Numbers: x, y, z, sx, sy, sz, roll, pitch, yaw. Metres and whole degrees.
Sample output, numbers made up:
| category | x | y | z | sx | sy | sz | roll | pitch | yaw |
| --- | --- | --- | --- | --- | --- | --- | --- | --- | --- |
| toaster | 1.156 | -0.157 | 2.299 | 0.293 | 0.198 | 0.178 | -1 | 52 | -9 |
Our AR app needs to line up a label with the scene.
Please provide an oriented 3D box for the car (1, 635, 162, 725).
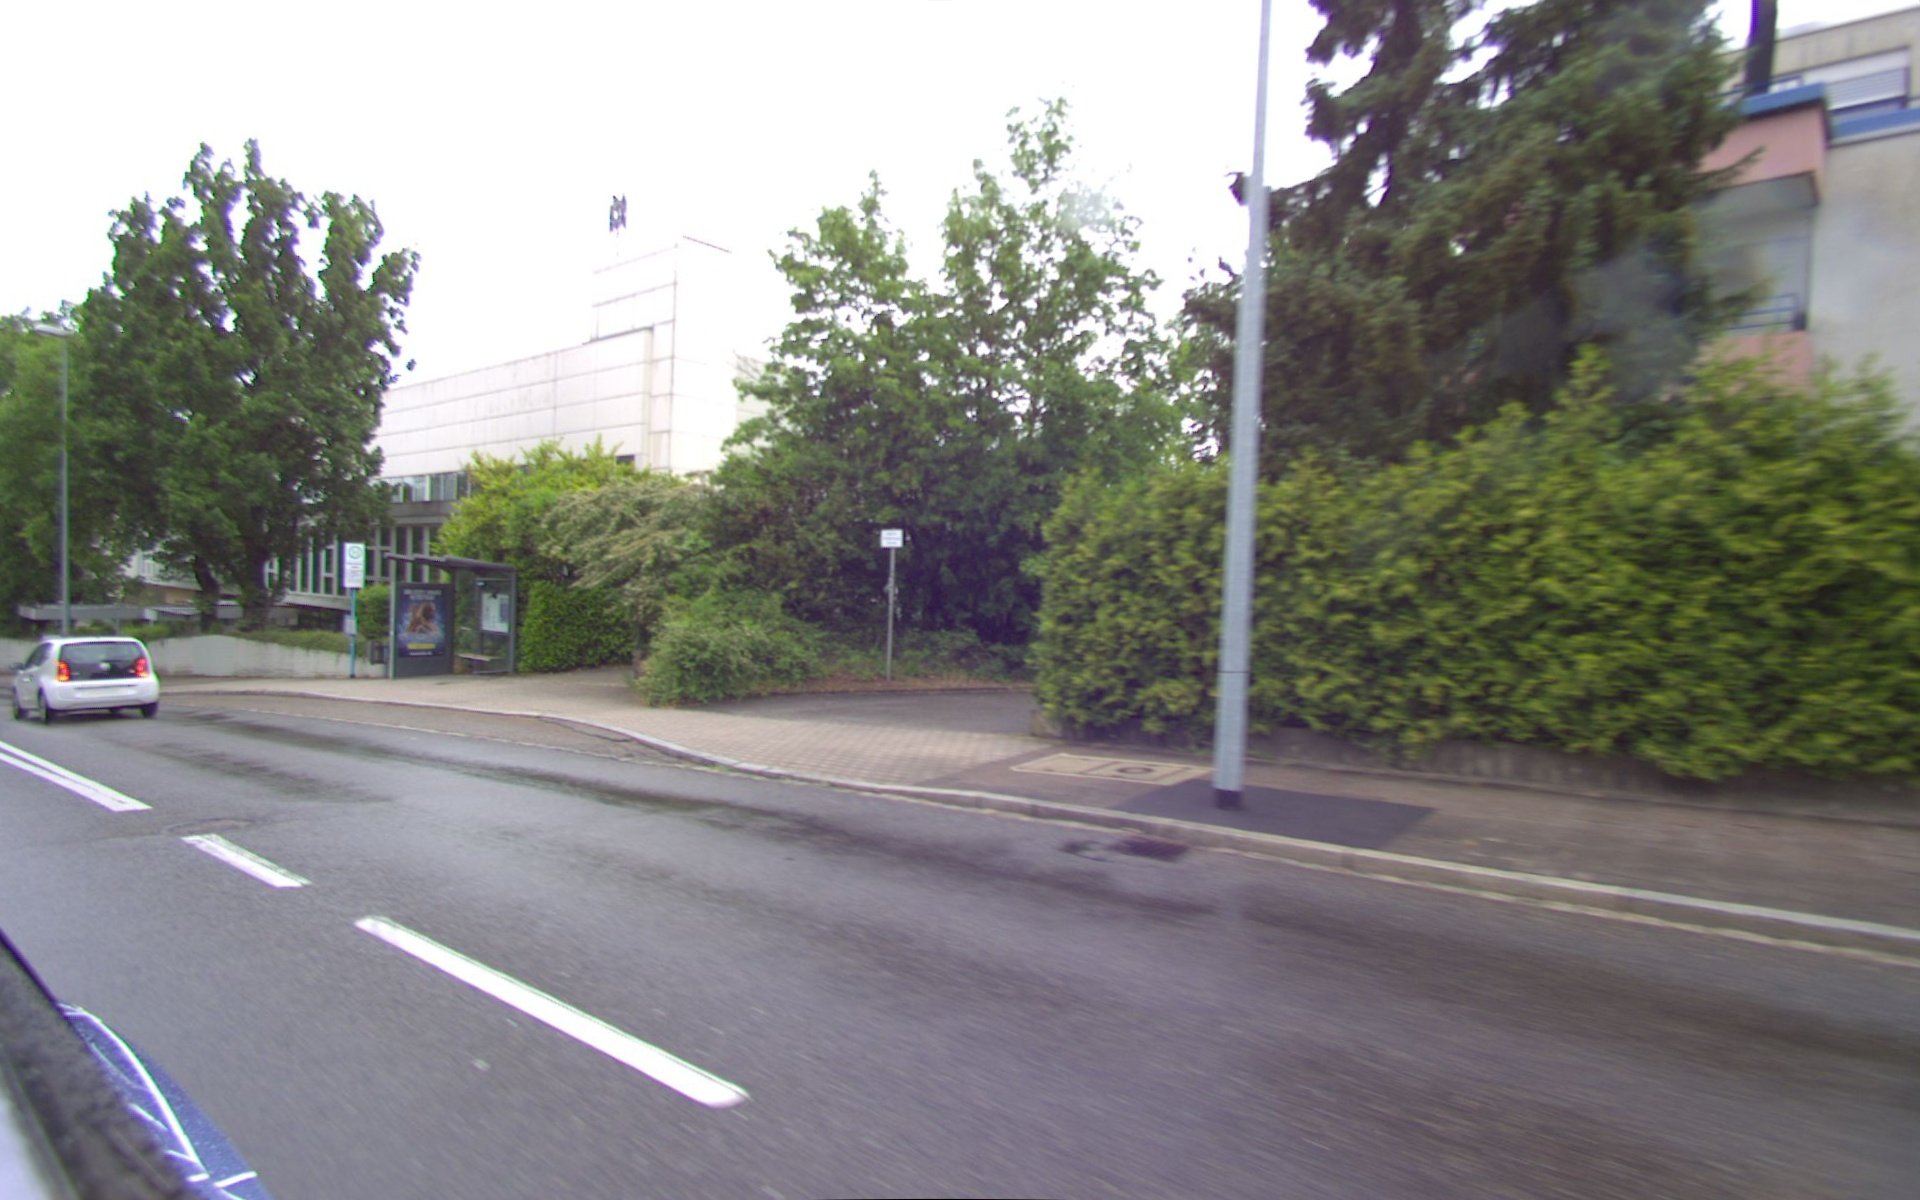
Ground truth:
| category | x | y | z | sx | sy | sz | roll | pitch | yaw |
| --- | --- | --- | --- | --- | --- | --- | --- | --- | --- |
| car | -16.140 | 1.398 | 18.563 | 3.394 | 1.465 | 1.669 | -2 | -2 | 39 |
